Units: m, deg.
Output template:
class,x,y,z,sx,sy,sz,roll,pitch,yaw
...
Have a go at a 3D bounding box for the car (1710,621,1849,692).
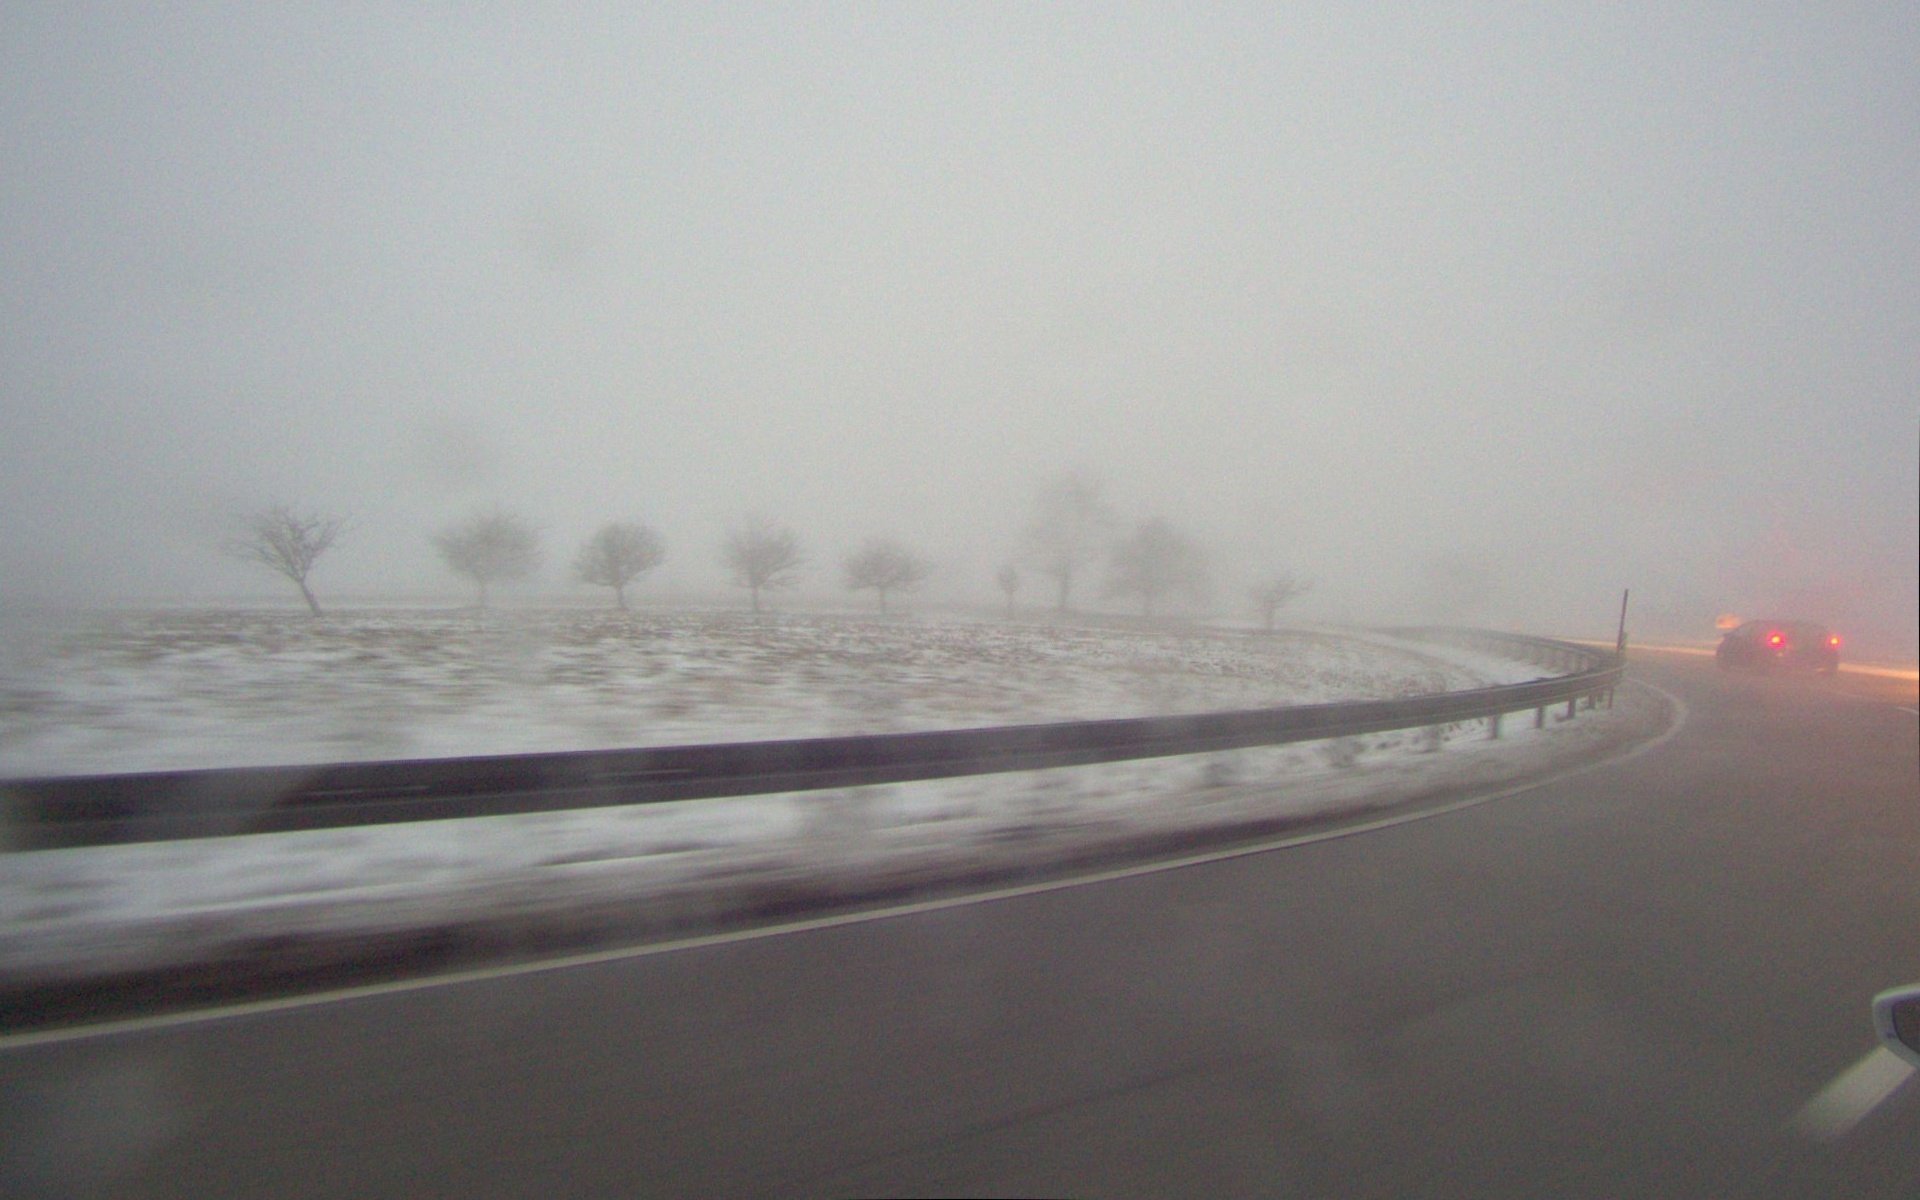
class,x,y,z,sx,sy,sz,roll,pitch,yaw
car,22.780,1.504,28.108,1.962,1.806,3.998,0,-1,23
